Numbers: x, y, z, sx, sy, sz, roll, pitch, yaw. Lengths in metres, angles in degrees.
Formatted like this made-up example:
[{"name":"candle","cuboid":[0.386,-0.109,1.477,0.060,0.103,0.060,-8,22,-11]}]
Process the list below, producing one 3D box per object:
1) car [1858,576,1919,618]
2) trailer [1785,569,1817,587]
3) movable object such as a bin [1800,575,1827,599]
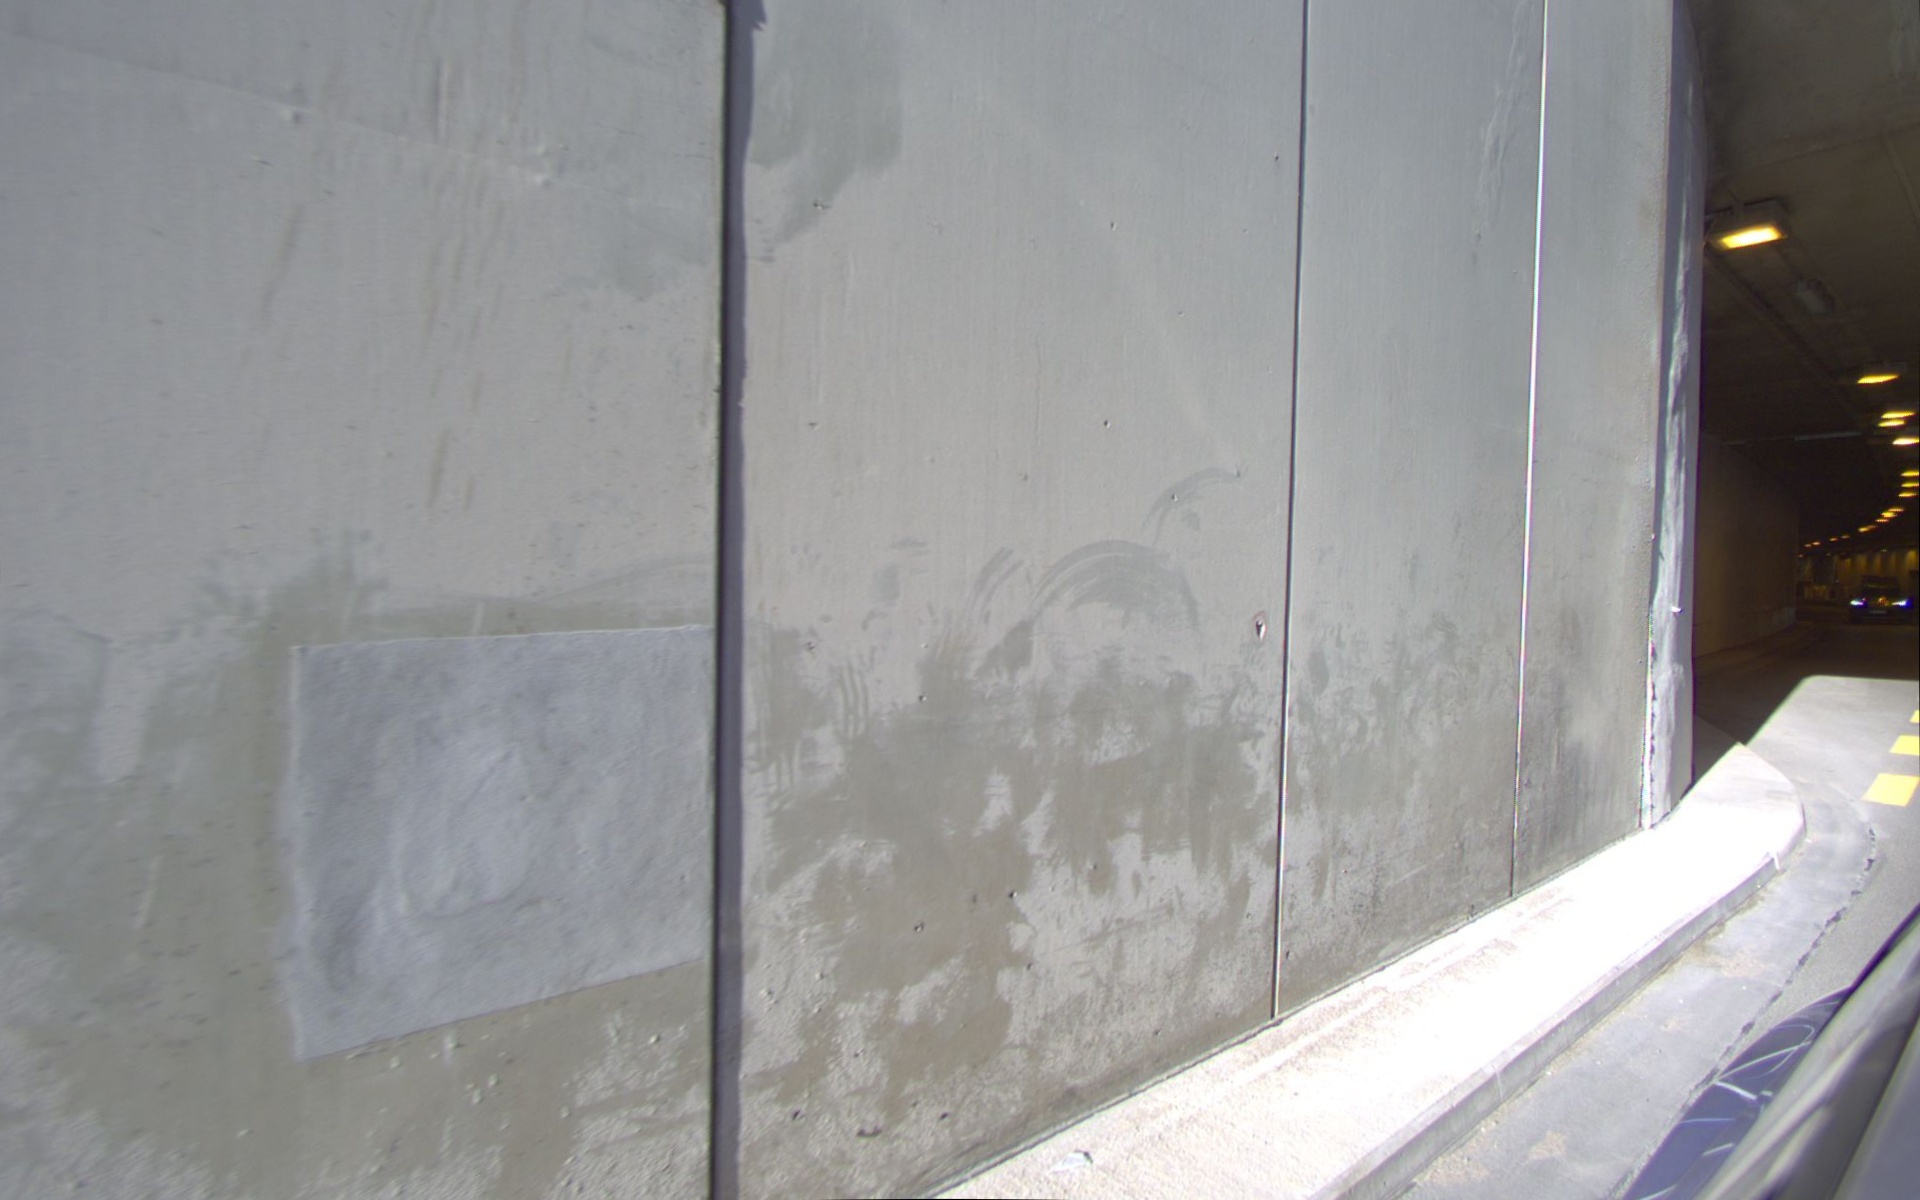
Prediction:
[{"name":"car","cuboid":[37.635,-0.158,40.933,1.890,1.564,4.178,1,2,41]},{"name":"trailer","cuboid":[83.486,-2.202,100.496,1.628,1.813,3.096,0,2,25]},{"name":"movable object such as a bin","cuboid":[53.716,-0.802,63.676,1.141,1.463,1.347,0,2,35]}]
